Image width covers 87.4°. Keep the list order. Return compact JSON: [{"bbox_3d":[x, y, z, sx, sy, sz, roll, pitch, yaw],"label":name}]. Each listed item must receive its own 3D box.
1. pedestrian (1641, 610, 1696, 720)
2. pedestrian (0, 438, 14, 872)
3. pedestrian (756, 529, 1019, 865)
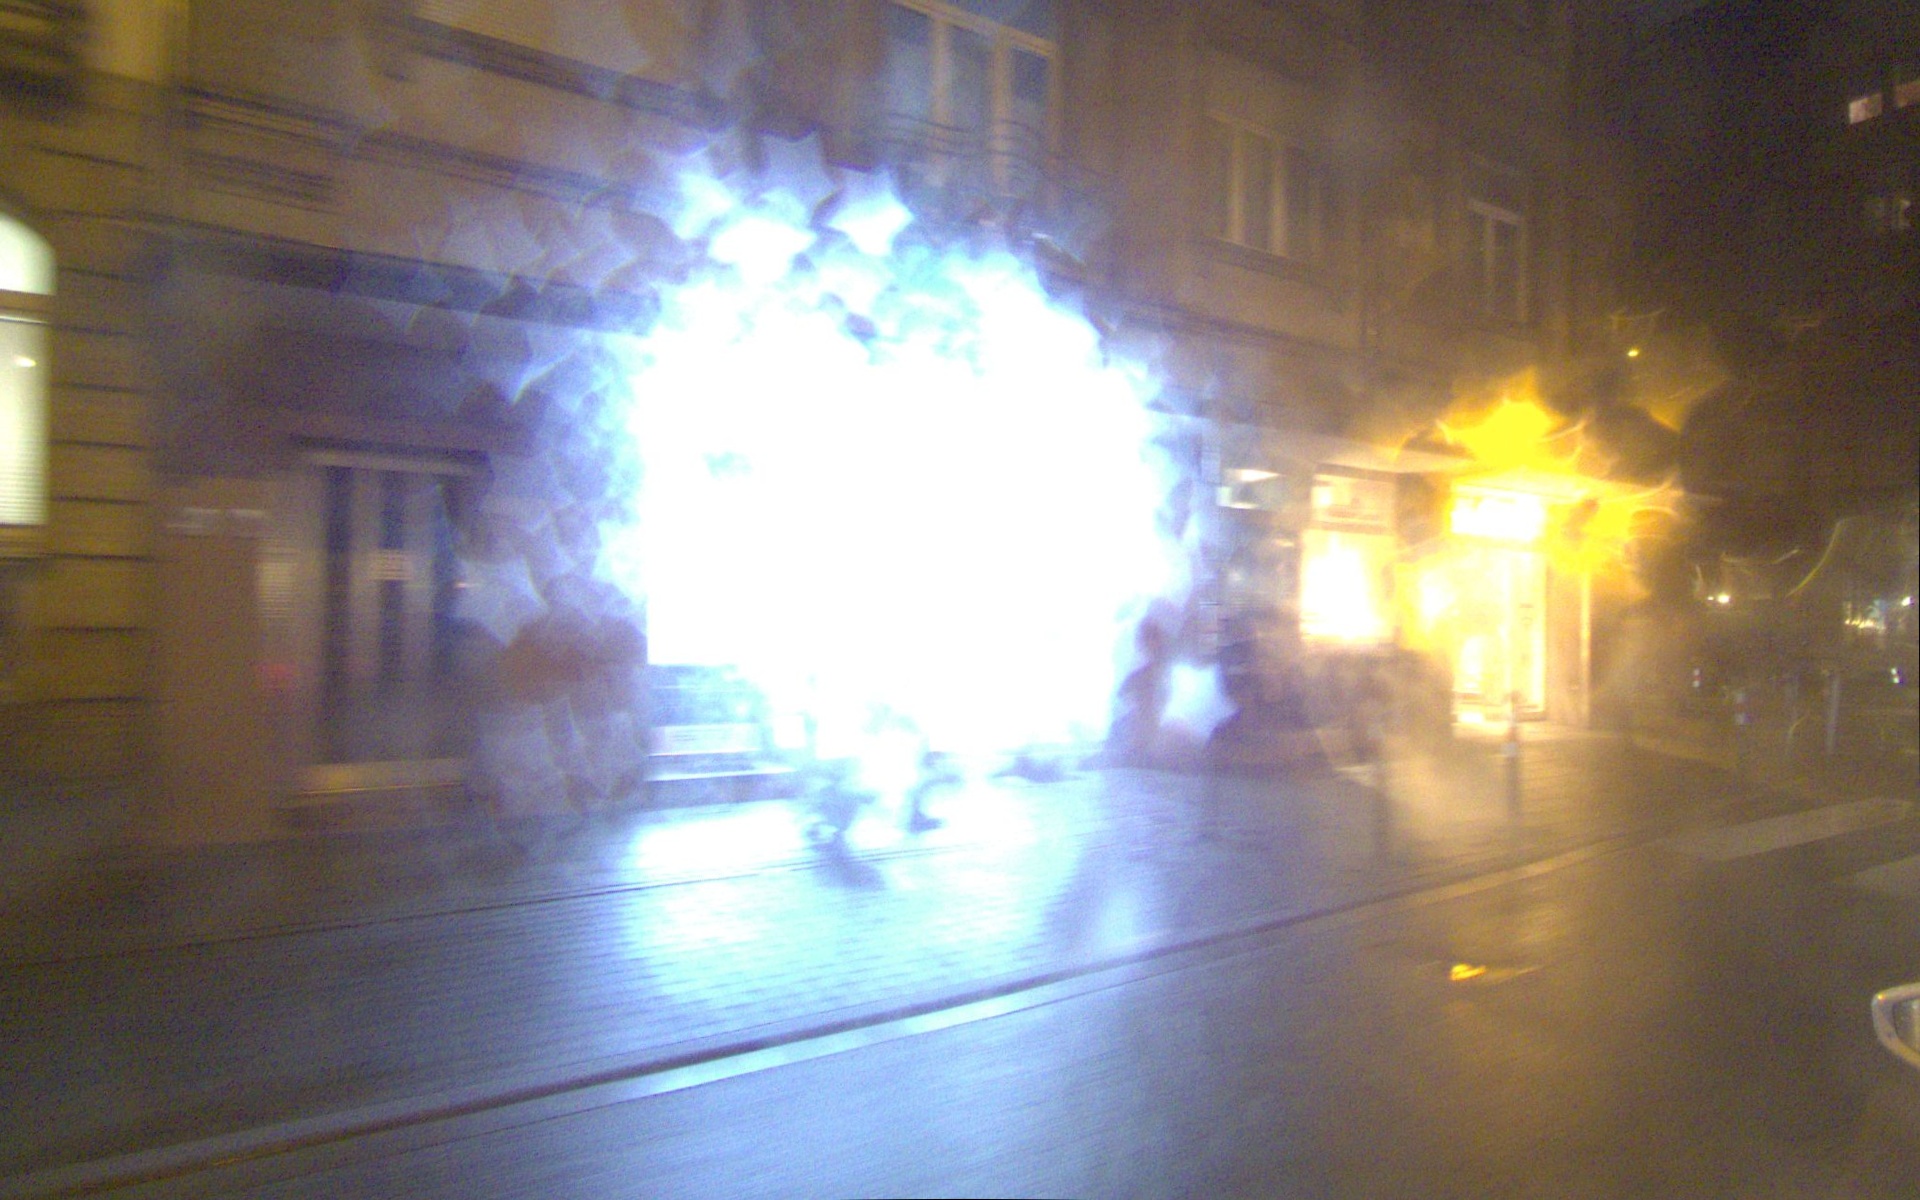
[{"bbox_3d":[12.781,1.159,18.130,0.641,1.934,0.628,0,-1,19],"label":"pedestrian"},{"bbox_3d":[-5.346,0.283,4.725,1.104,2.270,0.795,1,-1,-31],"label":"pedestrian"},{"bbox_3d":[-0.466,0.564,6.421,1.399,1.888,0.951,1,-1,-31],"label":"pedestrian"}]
